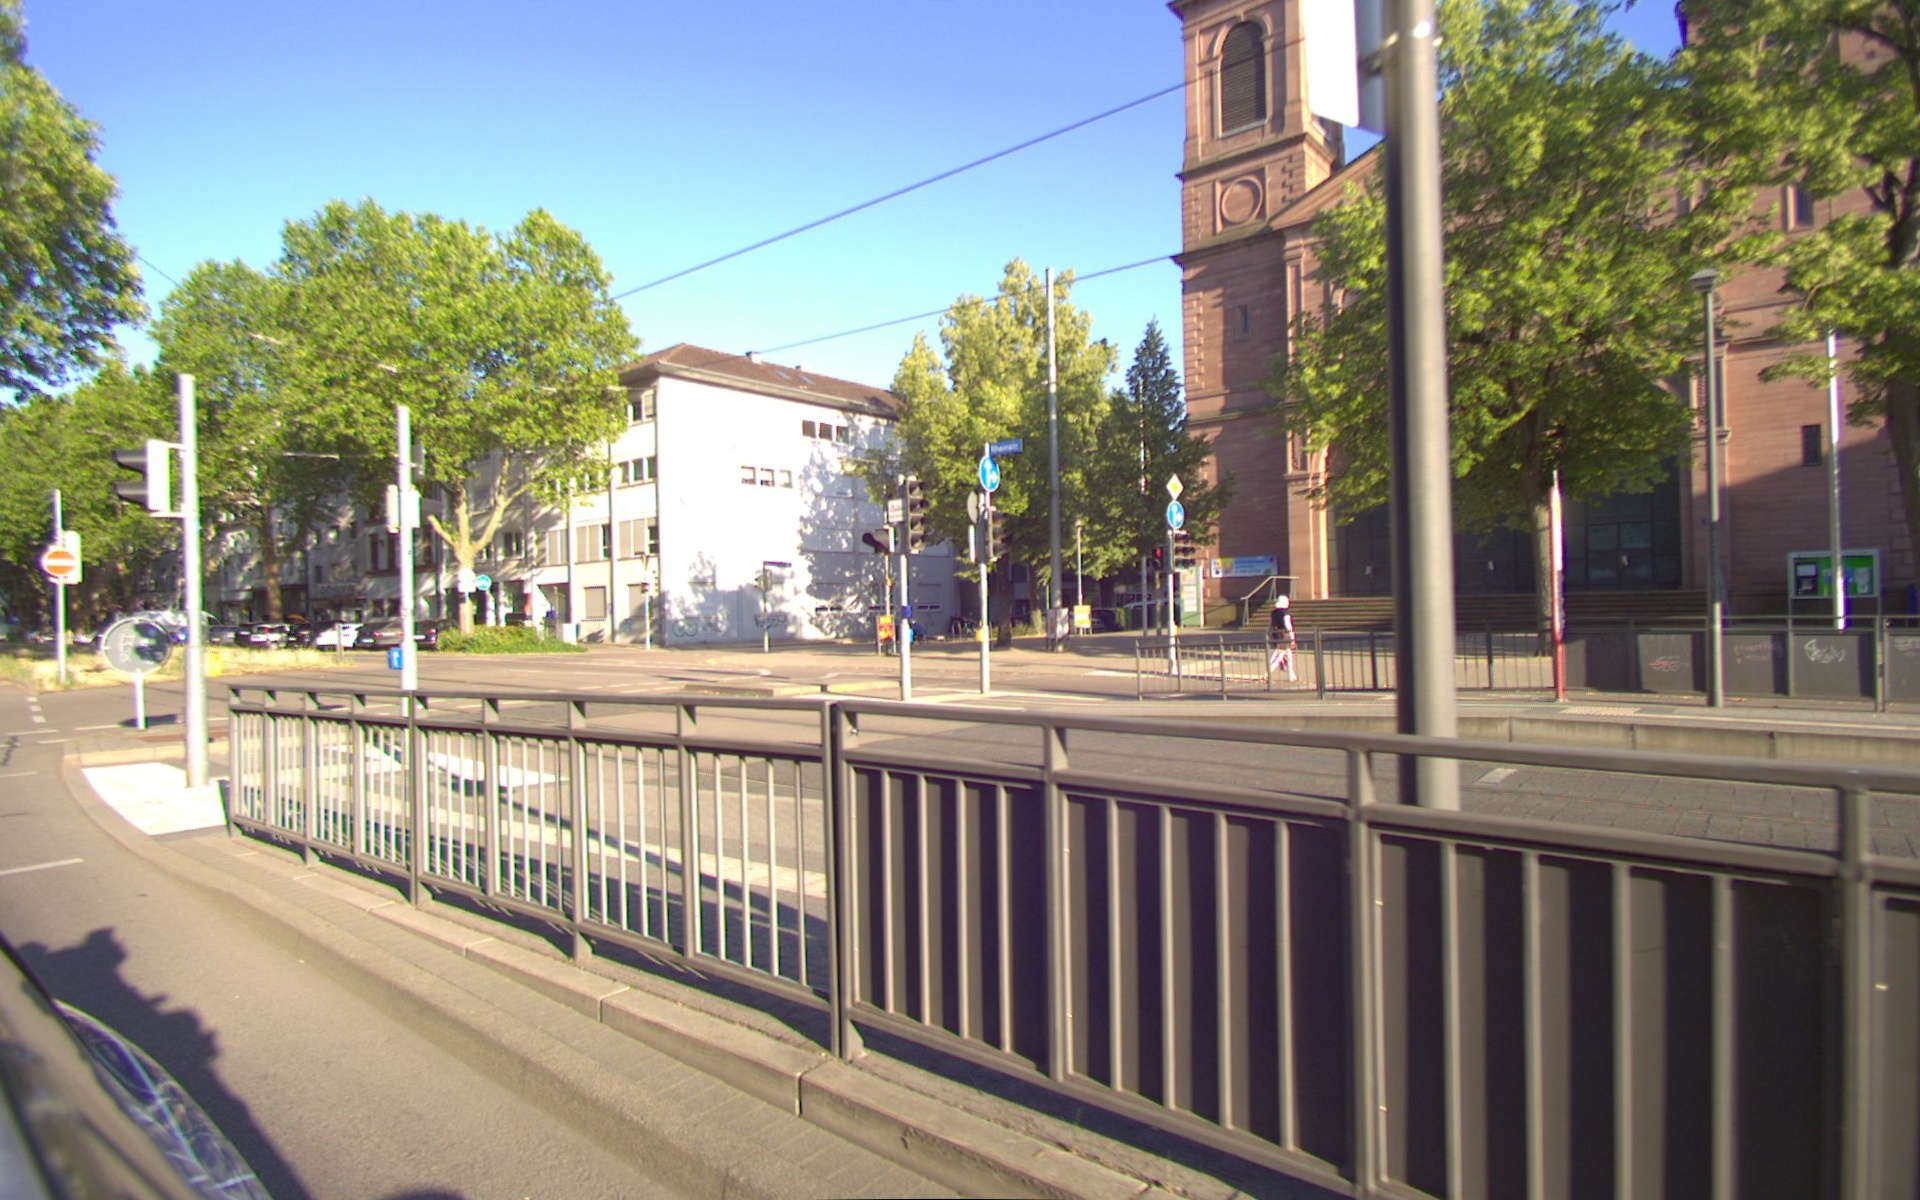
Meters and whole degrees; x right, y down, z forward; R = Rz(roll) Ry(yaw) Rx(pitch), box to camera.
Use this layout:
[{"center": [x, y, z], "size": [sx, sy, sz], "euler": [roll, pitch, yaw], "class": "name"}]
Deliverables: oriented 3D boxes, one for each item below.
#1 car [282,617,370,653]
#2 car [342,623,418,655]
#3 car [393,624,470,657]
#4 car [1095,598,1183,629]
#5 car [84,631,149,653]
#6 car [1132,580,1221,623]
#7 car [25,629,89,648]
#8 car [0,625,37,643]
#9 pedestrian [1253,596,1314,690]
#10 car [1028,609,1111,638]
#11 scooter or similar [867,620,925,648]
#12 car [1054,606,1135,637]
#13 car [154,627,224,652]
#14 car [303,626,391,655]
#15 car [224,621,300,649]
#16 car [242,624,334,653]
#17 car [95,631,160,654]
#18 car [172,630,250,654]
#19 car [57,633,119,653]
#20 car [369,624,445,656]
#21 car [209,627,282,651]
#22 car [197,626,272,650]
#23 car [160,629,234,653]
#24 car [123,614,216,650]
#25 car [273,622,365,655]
[{"center": [-36.704, 1.997, 58.728], "size": [1.508, 1.958, 4.222], "euler": [-2, -1, 24], "class": "car"}, {"center": [-29.932, 1.977, 52.346], "size": [1.805, 1.515, 3.973], "euler": [-1, -1, -3], "class": "car"}, {"center": [-25.048, 1.902, 48.107], "size": [1.746, 1.442, 3.973], "euler": [-1, -1, -3], "class": "car"}, {"center": [10.329, 0.802, 58.579], "size": [4.705, 1.674, 1.974], "euler": [-2, -1, 40], "class": "car"}, {"center": [-73.932, 3.683, 88.757], "size": [1.980, 1.829, 3.983], "euler": [-1, -1, 13], "class": "car"}, {"center": [13.469, 0.138, 63.177], "size": [5.110, 2.537, 1.973], "euler": [-2, -1, 41], "class": "car"}, {"center": [-83.820, 3.568, 93.978], "size": [1.996, 1.719, 4.185], "euler": [-2, -1, 36], "class": "car"}, {"center": [-117.429, 4.212, 125.270], "size": [2.071, 2.230, 4.944], "euler": [-1, -1, -2], "class": "car"}, {"center": [6.376, 0.835, 19.940], "size": [0.832, 1.773, 0.909], "euler": [-1, 0, 42], "class": "pedestrian"}, {"center": [5.684, 1.234, 52.977], "size": [3.997, 1.409, 1.792], "euler": [-3, -2, 41], "class": "car"}, {"center": [-2.763, 1.448, 43.652], "size": [2.446, 1.135, 1.082], "euler": [-2, -1, 41], "class": "scooter or similar"}, {"center": [7.256, 1.184, 54.816], "size": [3.997, 1.630, 1.865], "euler": [-2, -1, 41], "class": "car"}, {"center": [-59.408, 3.023, 78.027], "size": [1.980, 1.829, 3.983], "euler": [-1, -1, 13], "class": "car"}, {"center": [-32.281, 2.102, 53.428], "size": [2.122, 1.388, 4.258], "euler": [-1, -1, -1], "class": "car"}, {"center": [-44.002, 2.202, 63.918], "size": [1.881, 1.626, 4.257], "euler": [-1, -1, 0], "class": "car"}, {"center": [-38.814, 2.223, 58.527], "size": [1.633, 1.569, 4.222], "euler": [-2, -1, 24], "class": "car"}, {"center": [-71.320, 3.595, 86.787], "size": [1.980, 1.829, 3.983], "euler": [-1, -1, 13], "class": "car"}, {"center": [-52.490, 2.942, 70.996], "size": [1.985, 1.529, 3.974], "euler": [-1, -1, 19], "class": "car"}, {"center": [-80.667, 3.944, 93.667], "size": [1.980, 1.719, 3.983], "euler": [-1, -1, 13], "class": "car"}, {"center": [-27.391, 1.938, 50.259], "size": [1.717, 1.443, 3.973], "euler": [-2, -1, -3], "class": "car"}, {"center": [-46.726, 2.520, 66.264], "size": [1.582, 1.470, 4.252], "euler": [-1, -1, 4], "class": "car"}, {"center": [-49.084, 2.550, 68.553], "size": [1.883, 1.468, 4.252], "euler": [-1, -1, 4], "class": "car"}, {"center": [-54.938, 2.919, 72.944], "size": [1.980, 1.630, 3.983], "euler": [-1, -1, 13], "class": "car"}, {"center": [-61.814, 2.465, 79.253], "size": [2.160, 2.721, 5.584], "euler": [-1, -1, 15], "class": "car"}, {"center": [-35.007, 2.086, 55.427], "size": [2.126, 1.697, 4.251], "euler": [-1, -1, 5], "class": "car"}]
